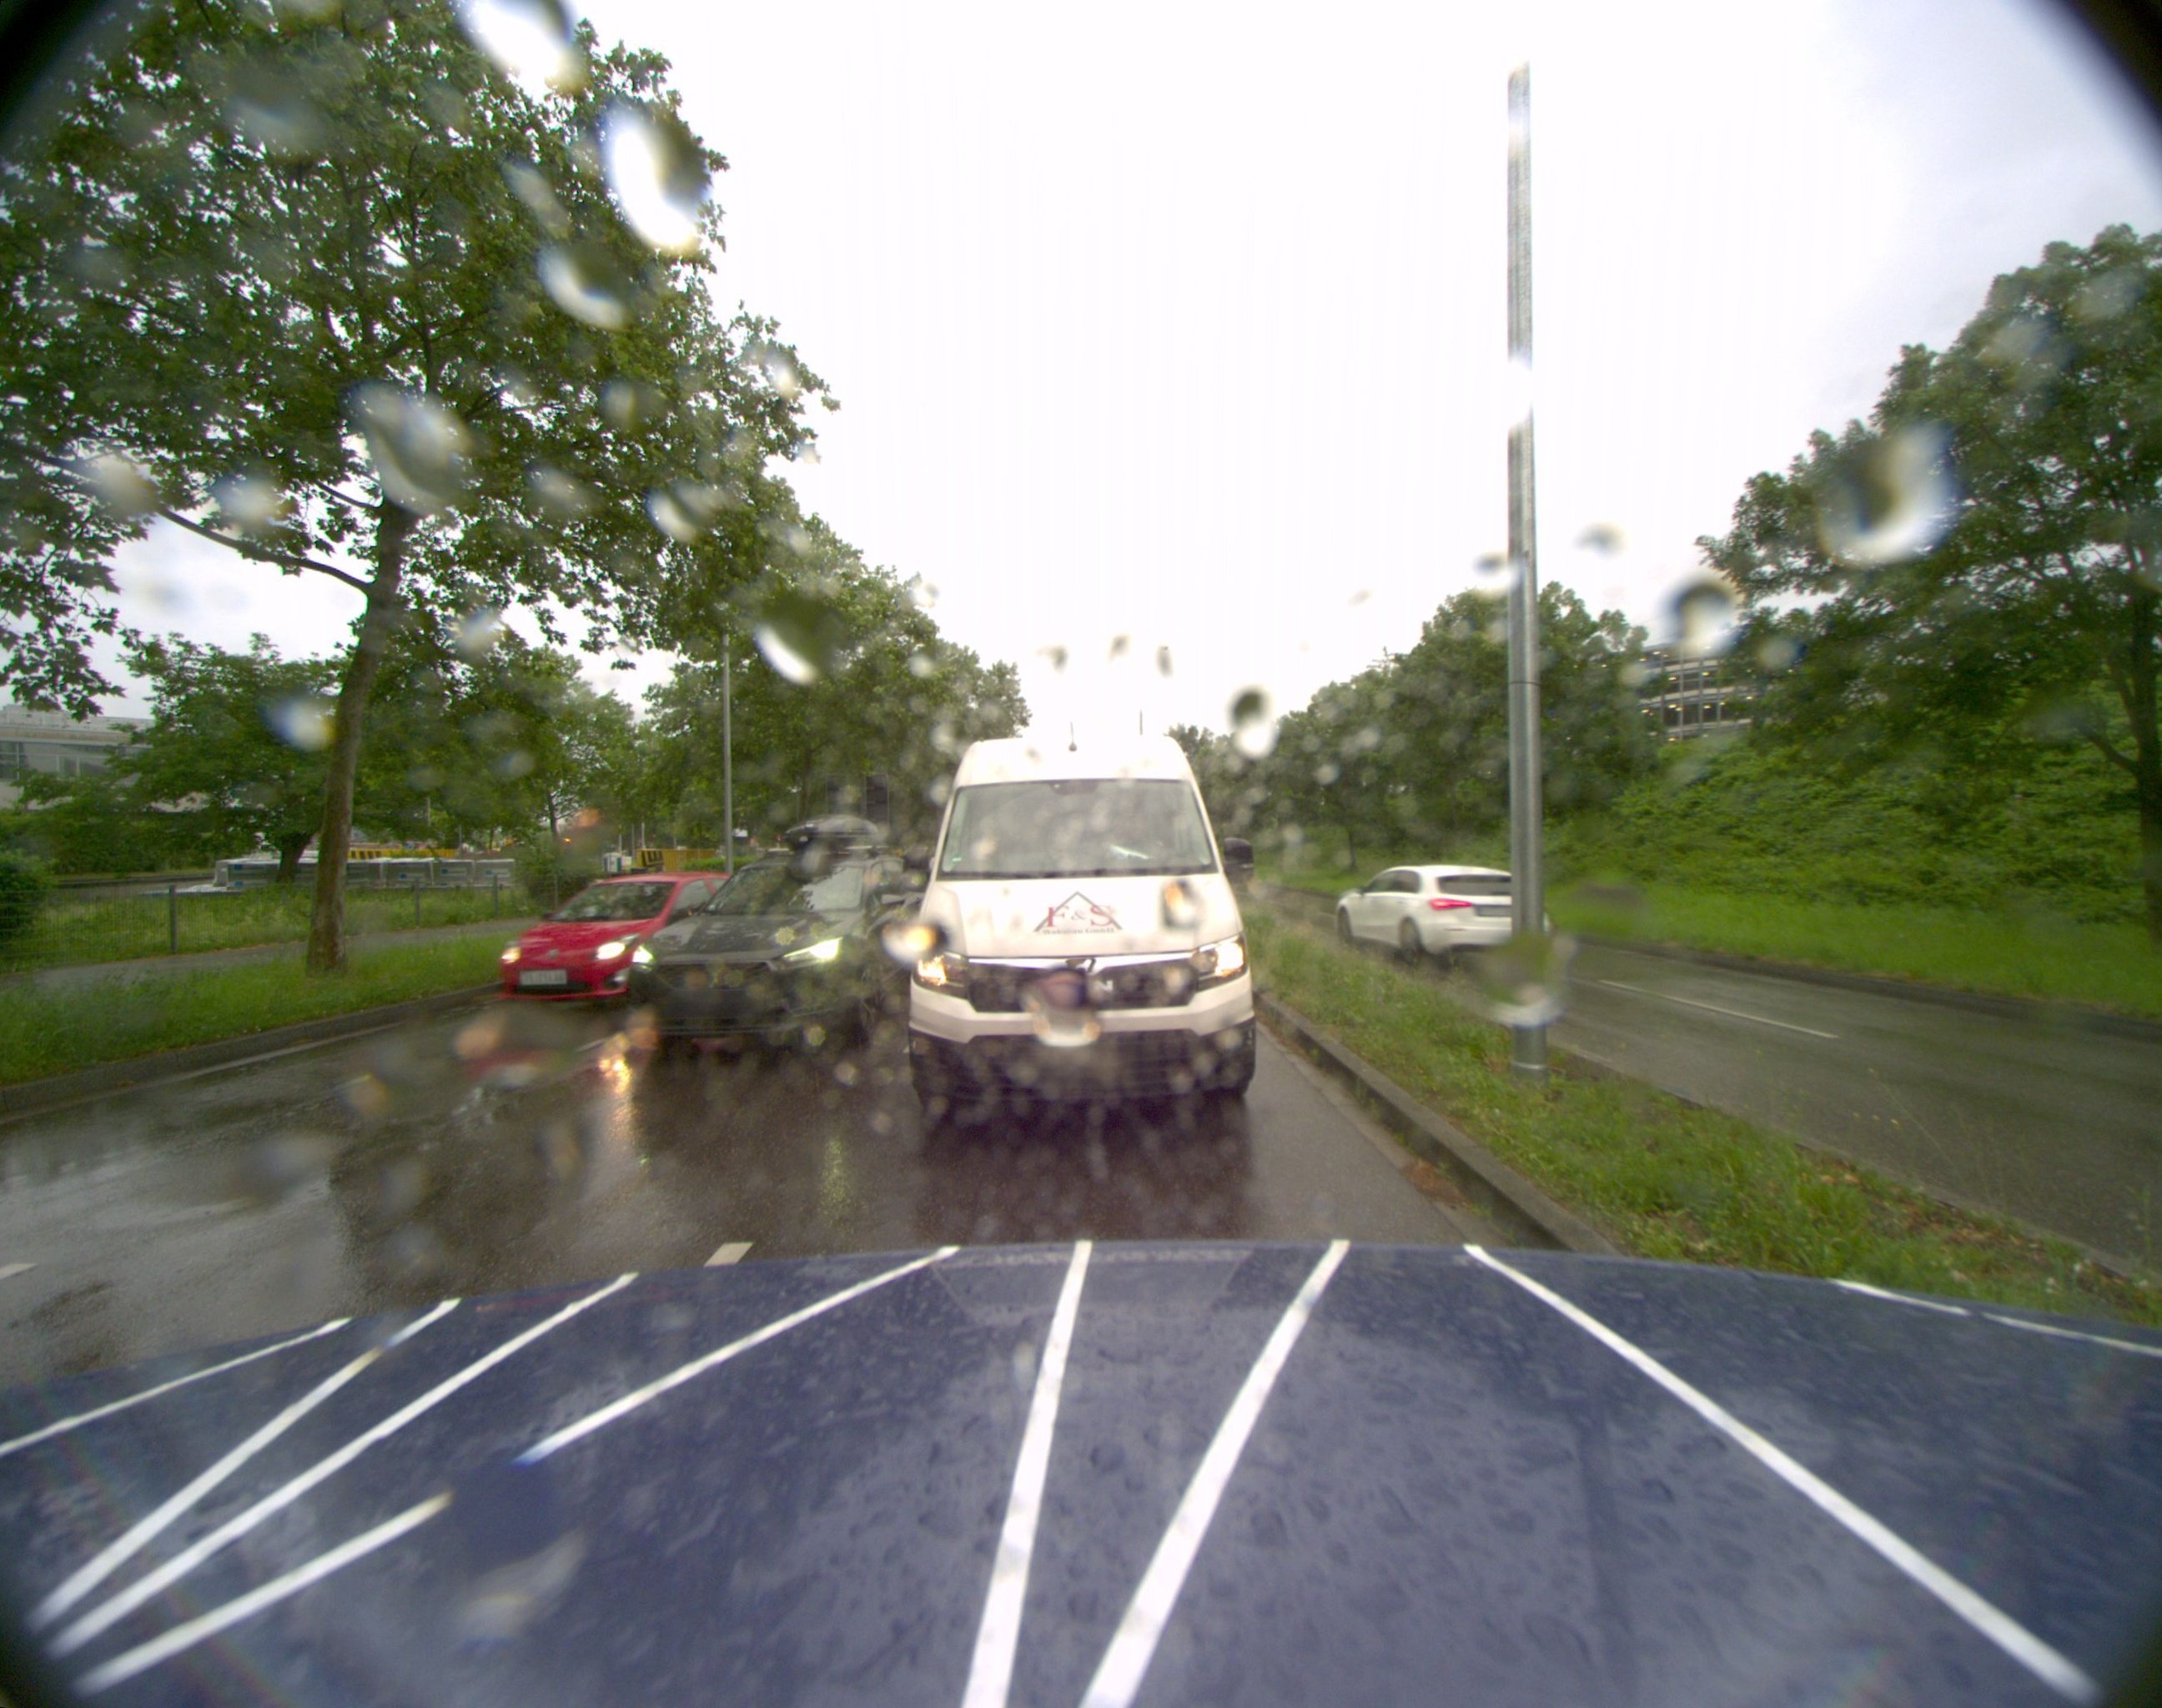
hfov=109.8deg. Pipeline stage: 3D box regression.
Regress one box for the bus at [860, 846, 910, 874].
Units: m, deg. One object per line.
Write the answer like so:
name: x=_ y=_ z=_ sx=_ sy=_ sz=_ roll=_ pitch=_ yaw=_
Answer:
bus: x=-19.146 y=0.559 z=74.391 sx=4.370 sy=2.553 sz=1.711 roll=-2 pitch=1 yaw=0

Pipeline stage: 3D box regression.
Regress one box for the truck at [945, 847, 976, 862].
truck: x=-20.995 y=0.077 z=132.619 sx=5.061 sy=2.363 sz=1.792 roll=-3 pitch=1 yaw=-30

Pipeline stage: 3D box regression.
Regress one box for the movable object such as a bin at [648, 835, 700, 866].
movable object such as a bin: x=-48.086 y=-0.450 z=89.785 sx=4.947 sy=3.415 sz=1.913 roll=-3 pitch=1 yaw=-39

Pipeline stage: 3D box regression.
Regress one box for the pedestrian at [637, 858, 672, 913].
pedestrian: x=-13.624 y=1.006 z=24.270 sx=0.646 sy=1.707 sz=0.656 roll=-2 pitch=1 yaw=1

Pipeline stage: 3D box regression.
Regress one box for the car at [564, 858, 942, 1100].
car: x=-2.775 y=0.918 z=7.720 sx=1.894 sy=1.688 sz=4.423 roll=-1 pitch=0 yaw=0

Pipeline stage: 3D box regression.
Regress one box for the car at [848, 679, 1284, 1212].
car: x=-0.113 y=0.425 z=6.460 sx=2.027 sy=2.498 sz=5.695 roll=-1 pitch=0 yaw=-1

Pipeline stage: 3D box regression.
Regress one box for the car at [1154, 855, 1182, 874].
car: x=7.364 y=0.841 z=64.835 sx=1.891 sy=1.510 sz=4.301 roll=1 pitch=0 yaw=0

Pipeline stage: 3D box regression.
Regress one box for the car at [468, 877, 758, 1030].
car: x=-5.648 y=1.098 z=9.695 sx=1.573 sy=1.454 sz=3.389 roll=-2 pitch=0 yaw=0

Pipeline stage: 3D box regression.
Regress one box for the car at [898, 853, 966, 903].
car: x=-5.657 y=0.877 z=29.312 sx=1.679 sy=1.675 sz=4.148 roll=-3 pitch=0 yaw=1

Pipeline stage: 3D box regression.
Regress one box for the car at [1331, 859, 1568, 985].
car: x=5.476 y=0.908 z=11.951 sx=1.739 sy=1.511 sz=4.047 roll=2 pitch=1 yaw=0
